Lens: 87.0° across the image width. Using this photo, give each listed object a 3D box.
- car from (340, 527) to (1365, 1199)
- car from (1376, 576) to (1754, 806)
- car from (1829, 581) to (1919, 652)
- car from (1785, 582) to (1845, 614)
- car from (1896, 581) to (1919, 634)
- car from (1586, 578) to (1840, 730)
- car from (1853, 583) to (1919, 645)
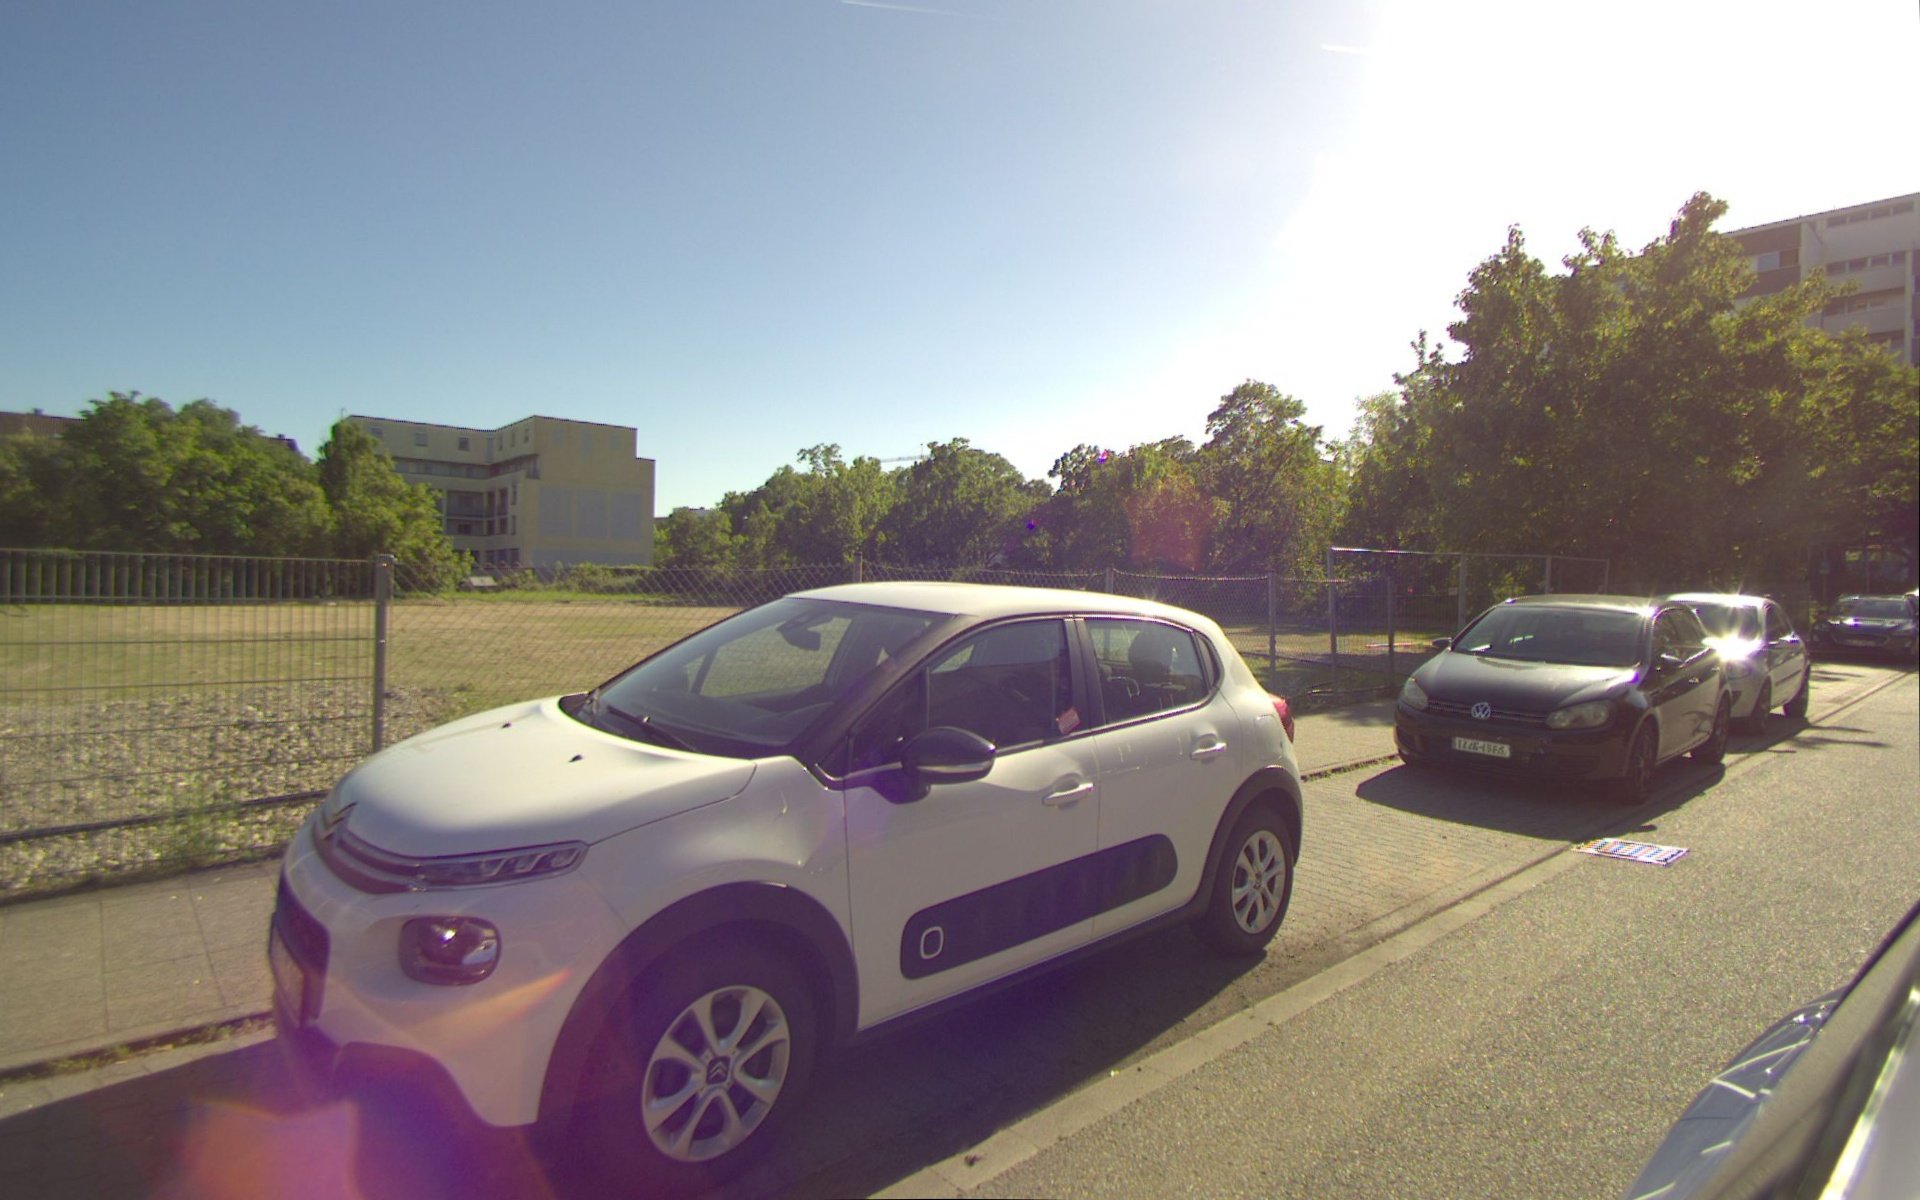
[{"bbox_3d":[-0.102,0.645,4.027,3.782,1.561,1.682,1,0,-42],"label":"car"},{"bbox_3d":[5.294,0.558,8.636,4.009,1.513,1.690,-1,1,-42],"label":"car"},{"bbox_3d":[20.968,0.310,22.792,4.365,1.455,1.678,-1,1,-43],"label":"car"},{"bbox_3d":[43.071,-0.113,50.959,3.931,1.469,1.714,-2,2,-41],"label":"car"},{"bbox_3d":[29.745,0.199,30.622,4.019,1.469,1.623,-2,2,-40],"label":"car"},{"bbox_3d":[9.105,0.549,12.122,3.930,1.532,1.665,1,0,-41],"label":"car"},{"bbox_3d":[24.737,0.323,26.309,3.998,1.490,1.828,-1,1,-41],"label":"car"}]
